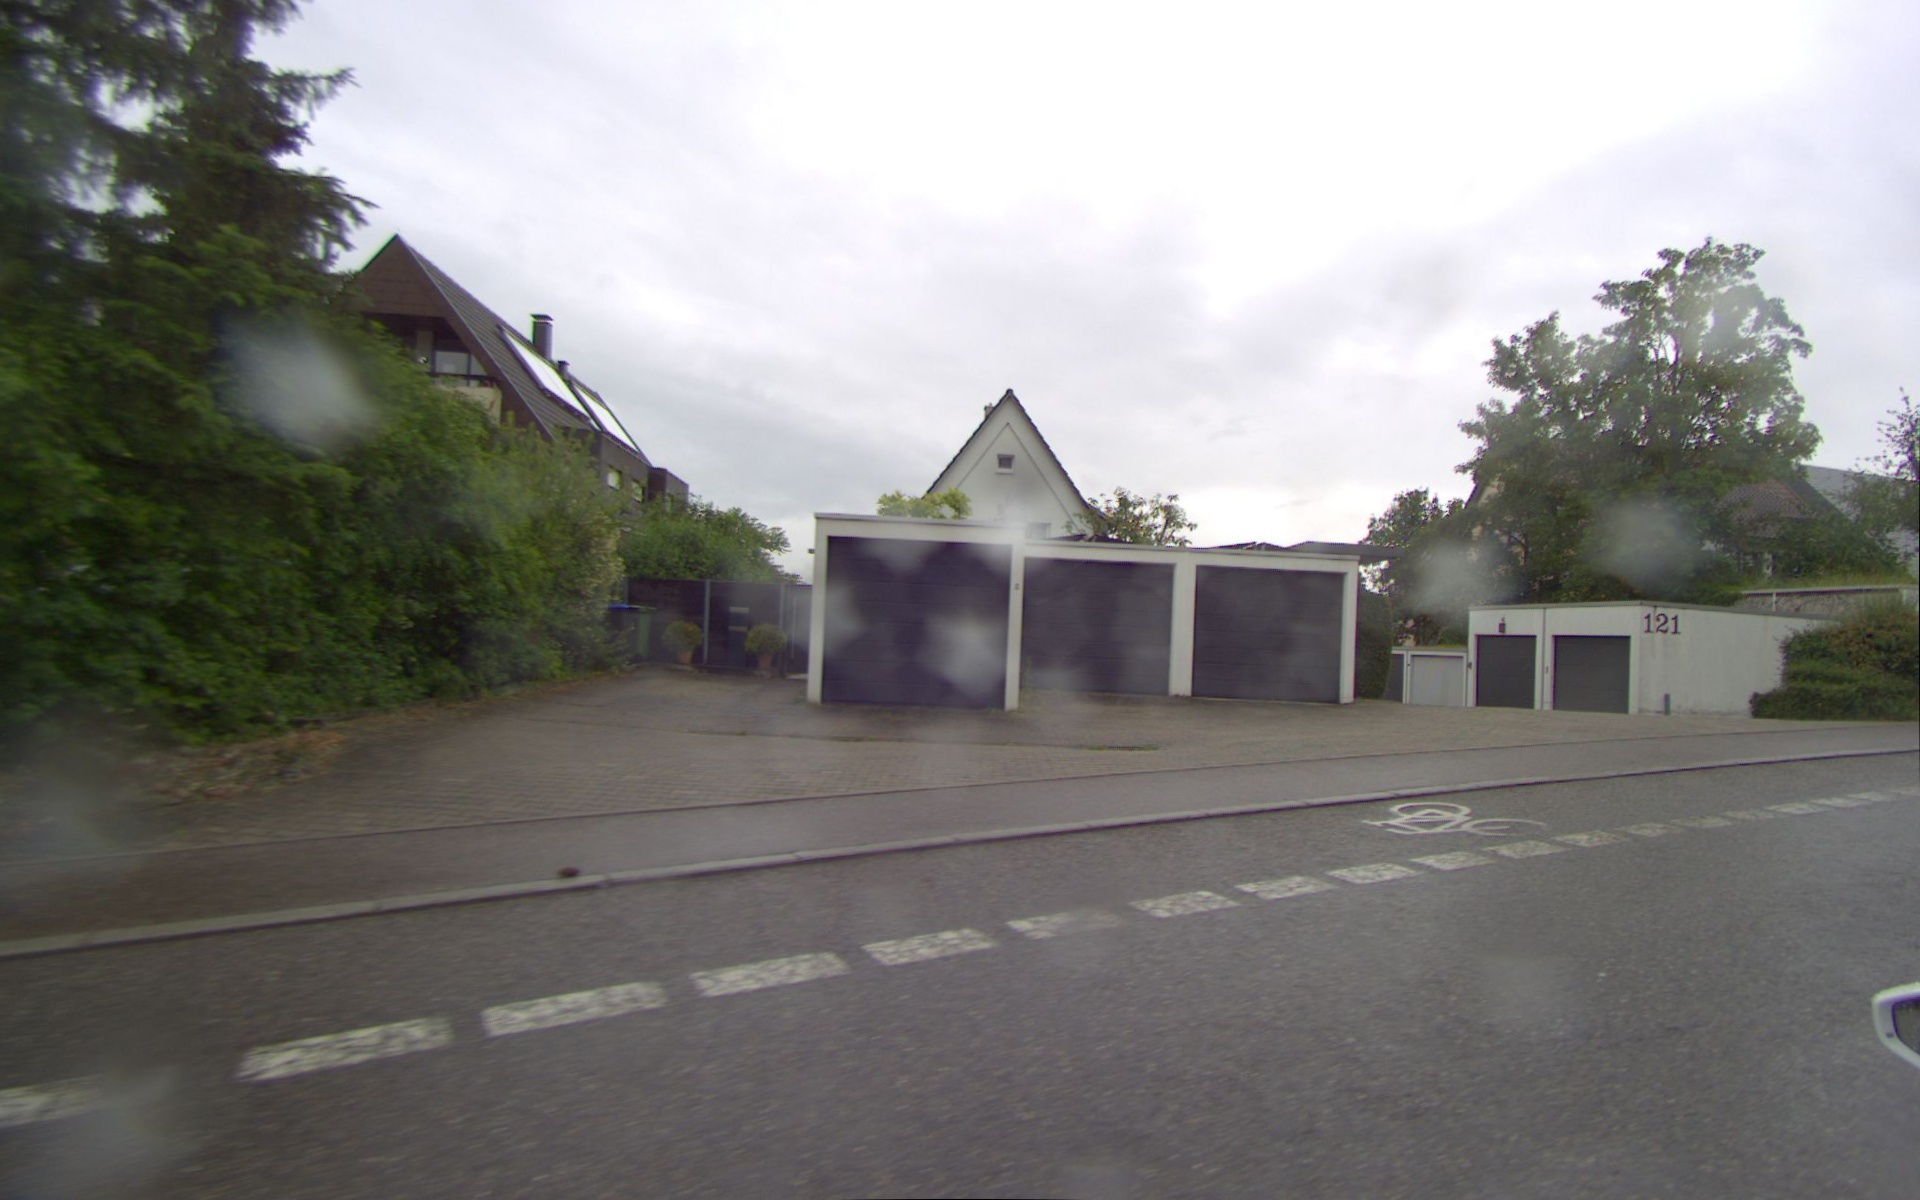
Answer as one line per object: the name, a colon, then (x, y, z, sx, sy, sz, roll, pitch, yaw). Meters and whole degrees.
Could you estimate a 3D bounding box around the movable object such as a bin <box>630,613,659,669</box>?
movable object such as a bin: (-5.925, 0.772, 18.872, 0.468, 1.038, 0.412, 1, 0, -23)

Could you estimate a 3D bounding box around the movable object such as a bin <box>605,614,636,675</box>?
movable object such as a bin: (-5.922, 0.775, 17.529, 0.468, 1.038, 0.412, 1, 0, -23)
